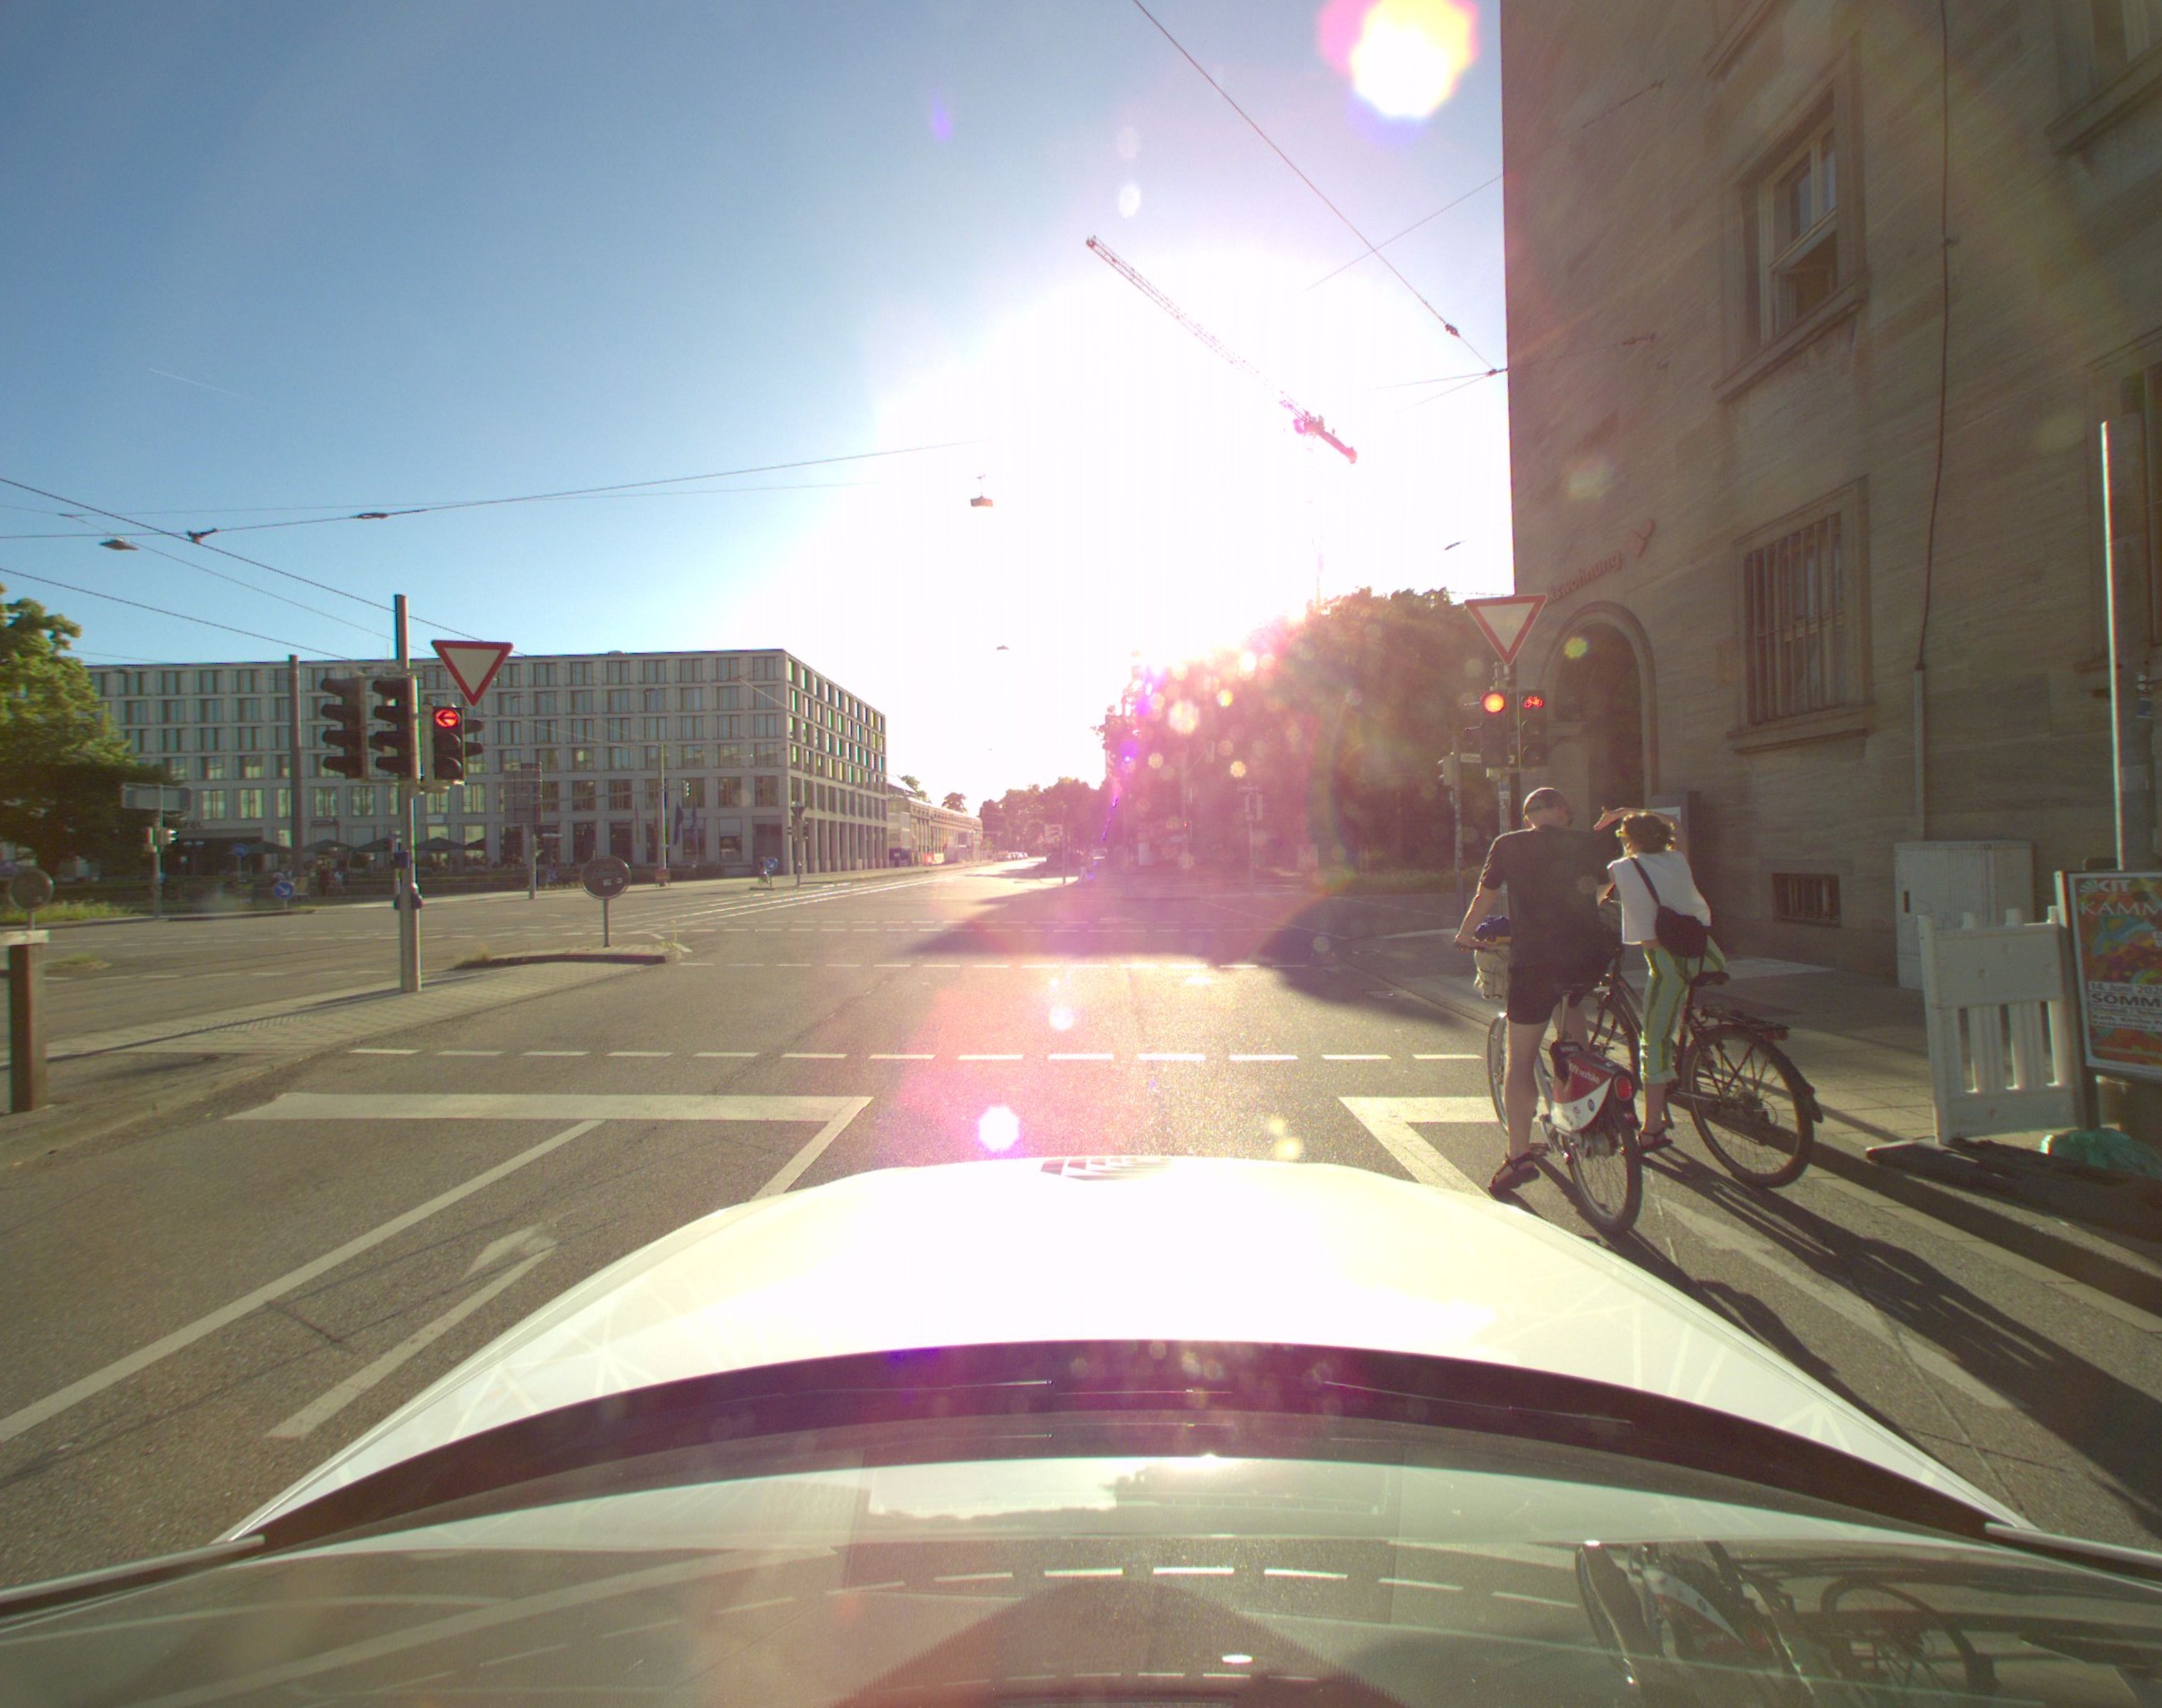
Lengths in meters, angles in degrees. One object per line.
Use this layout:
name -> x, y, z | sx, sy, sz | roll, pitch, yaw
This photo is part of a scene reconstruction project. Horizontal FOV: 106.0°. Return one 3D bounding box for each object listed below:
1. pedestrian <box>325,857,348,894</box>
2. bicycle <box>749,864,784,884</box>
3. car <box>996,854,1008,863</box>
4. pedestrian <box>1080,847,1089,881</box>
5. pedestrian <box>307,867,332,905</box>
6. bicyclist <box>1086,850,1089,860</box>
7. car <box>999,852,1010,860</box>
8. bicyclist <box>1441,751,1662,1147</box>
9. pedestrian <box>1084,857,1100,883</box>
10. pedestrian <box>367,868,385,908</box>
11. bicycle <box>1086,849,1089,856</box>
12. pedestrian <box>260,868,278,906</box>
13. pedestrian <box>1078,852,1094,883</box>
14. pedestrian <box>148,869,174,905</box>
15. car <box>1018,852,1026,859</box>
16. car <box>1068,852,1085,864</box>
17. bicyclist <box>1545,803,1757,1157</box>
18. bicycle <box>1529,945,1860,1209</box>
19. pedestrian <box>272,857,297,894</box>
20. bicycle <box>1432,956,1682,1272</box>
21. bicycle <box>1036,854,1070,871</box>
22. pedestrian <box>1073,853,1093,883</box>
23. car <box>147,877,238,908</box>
pedestrian -> -41.984, 1.198, 45.922 | 0.528, 2.013, 0.800 | -2, 0, -5
bicycle -> -19.448, 1.234, 50.450 | 0.872, 1.121, 3.015 | -2, 0, 3
car -> -15.204, 0.787, 156.858 | 1.724, 1.653, 4.002 | -2, 0, 2
pedestrian -> 0.185, 0.542, 44.783 | 0.358, 1.804, 0.508 | -2, 0, 14
pedestrian -> -42.043, 1.764, 44.971 | 0.648, 2.069, 0.649 | -2, -4, -5
bicyclist -> 0.828, 0.132, 98.530 | 0.317, 1.127, 0.291 | -2, 0, 1
car -> -15.047, 0.366, 160.801 | 1.724, 1.653, 4.002 | -2, 0, 2
bicyclist -> 2.157, 0.409, 3.824 | 0.666, 1.678, 0.658 | -2, 0, 9
pedestrian -> 0.589, 0.827, 43.194 | 0.749, 1.332, 0.743 | -2, 0, 1
pedestrian -> -40.772, 1.956, 47.105 | 0.568, 2.280, 0.532 | -2, 0, -5
bicycle -> 0.834, -0.162, 98.653 | 0.323, 0.868, 1.484 | -2, 0, 2
pedestrian -> -43.530, 1.751, 43.658 | 0.490, 2.013, 0.493 | -2, 0, 14
pedestrian -> 0.278, 0.710, 43.905 | 0.792, 1.639, 0.534 | -2, 0, 4
pedestrian -> -49.970, 1.798, 44.234 | 0.557, 1.903, 0.684 | -2, 0, 10
car -> -14.055, 0.327, 195.082 | 1.478, 1.750, 4.002 | -2, 0, 2
car -> -0.495, 0.409, 89.221 | 1.814, 1.279, 3.999 | -2, 0, 0
bicyclist -> 2.958, 0.603, 4.310 | 0.519, 1.679, 0.860 | -2, 0, 5
bicycle -> 3.094, 1.045, 4.377 | 0.424, 0.876, 1.953 | -2, 0, 5
pedestrian -> -43.519, 1.178, 44.507 | 0.528, 2.013, 0.800 | -2, 0, -5
bicycle -> 2.172, 1.077, 3.977 | 0.387, 0.905, 1.956 | -2, 0, 10
bicycle -> -2.328, 0.726, 67.369 | 2.728, 1.367, 0.633 | -1, -1, 12
pedestrian -> 0.100, 0.751, 43.490 | 0.980, 1.587, 0.661 | -2, -1, 3
car -> -46.799, 2.015, 42.928 | 3.173, 1.438, 1.471 | -2, 0, 1
